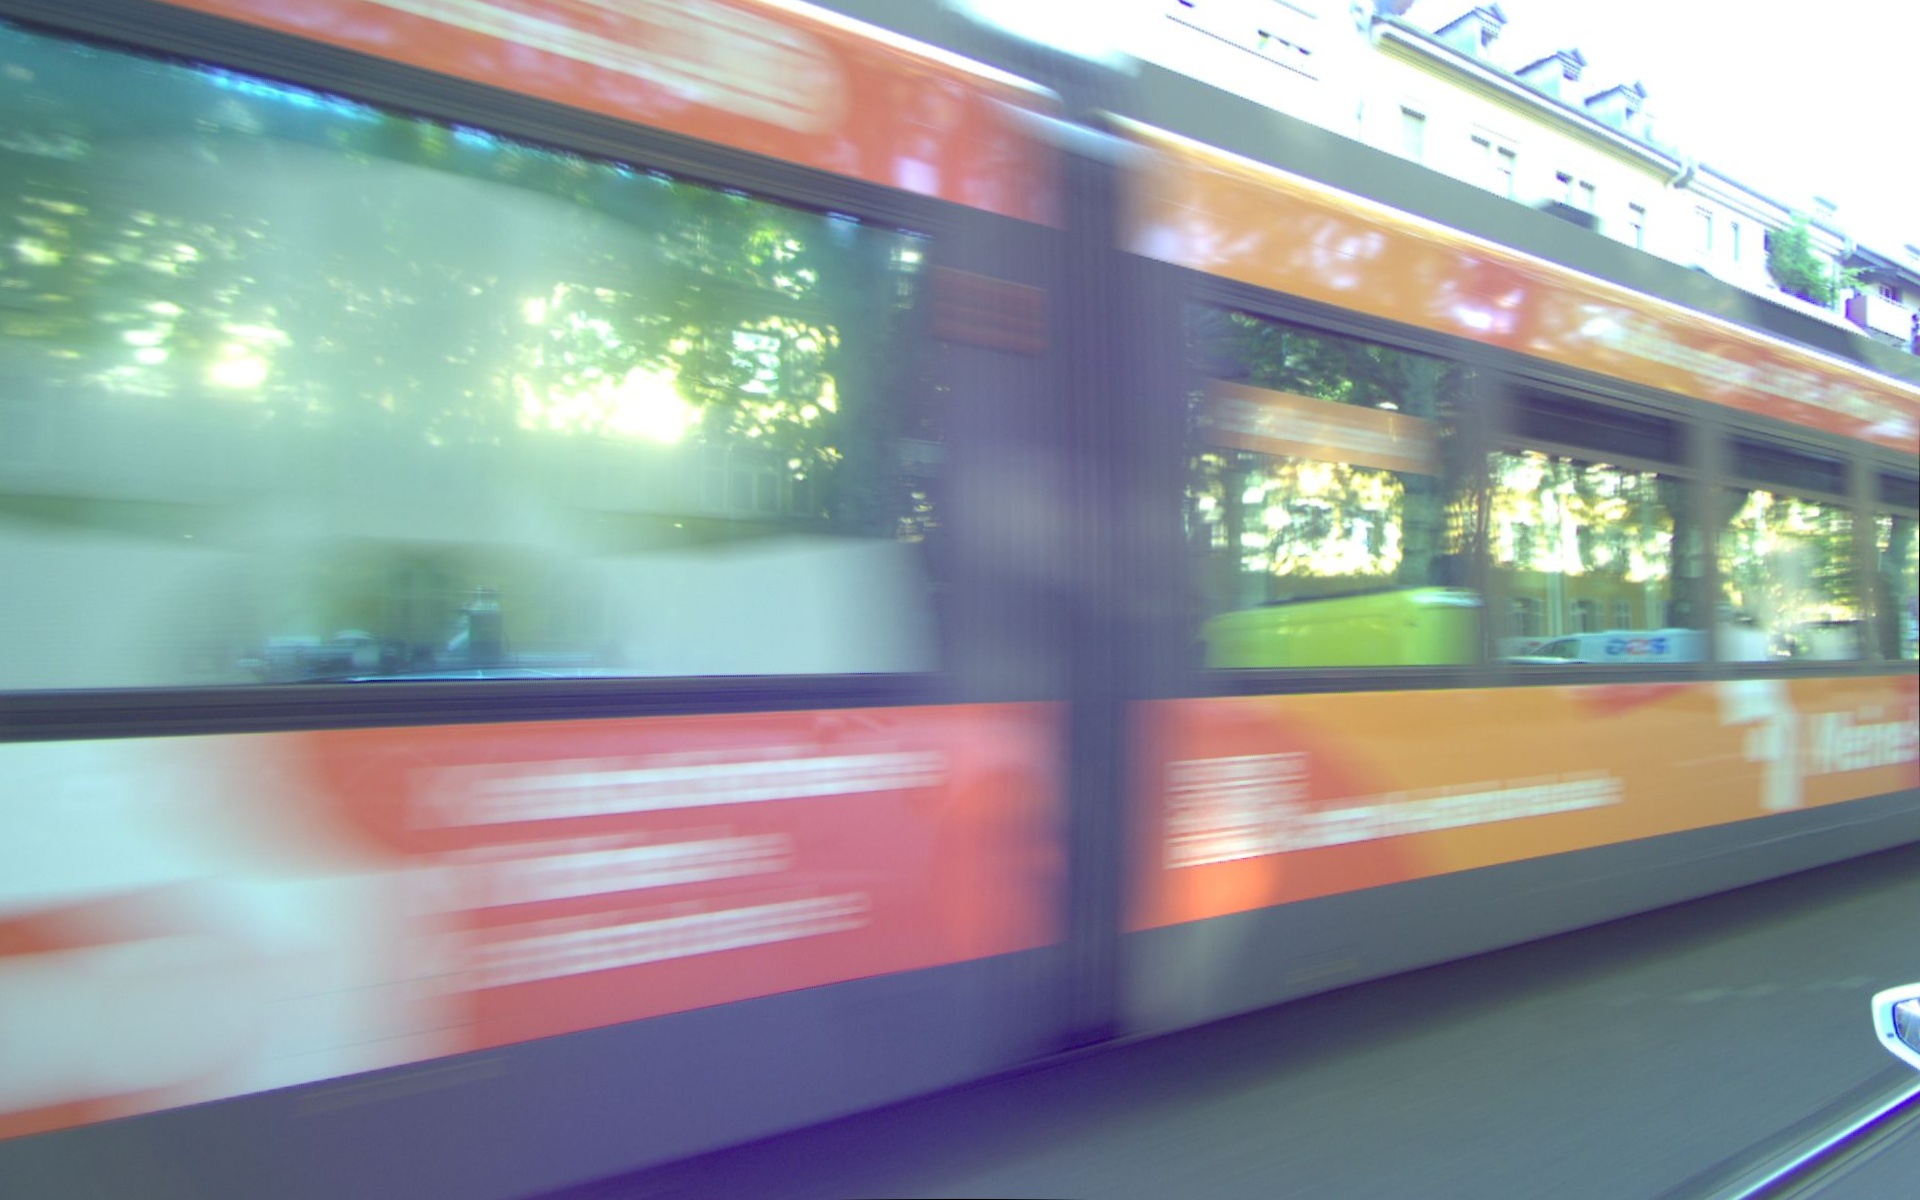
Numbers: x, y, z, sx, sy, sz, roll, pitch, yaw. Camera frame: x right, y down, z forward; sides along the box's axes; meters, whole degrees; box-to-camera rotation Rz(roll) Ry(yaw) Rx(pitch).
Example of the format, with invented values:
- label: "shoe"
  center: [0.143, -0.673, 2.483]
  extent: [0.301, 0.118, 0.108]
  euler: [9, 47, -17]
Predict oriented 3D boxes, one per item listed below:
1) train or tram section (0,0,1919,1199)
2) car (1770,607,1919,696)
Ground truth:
- label: "train or tram section"
  center: [3.768, -0.162, 6.396]
  extent: [14.032, 3.532, 2.894]
  euler: [1, -1, -31]
- label: "car"
  center: [19.843, 1.083, 22.179]
  extent: [4.423, 1.794, 1.778]
  euler: [1, -1, -33]
